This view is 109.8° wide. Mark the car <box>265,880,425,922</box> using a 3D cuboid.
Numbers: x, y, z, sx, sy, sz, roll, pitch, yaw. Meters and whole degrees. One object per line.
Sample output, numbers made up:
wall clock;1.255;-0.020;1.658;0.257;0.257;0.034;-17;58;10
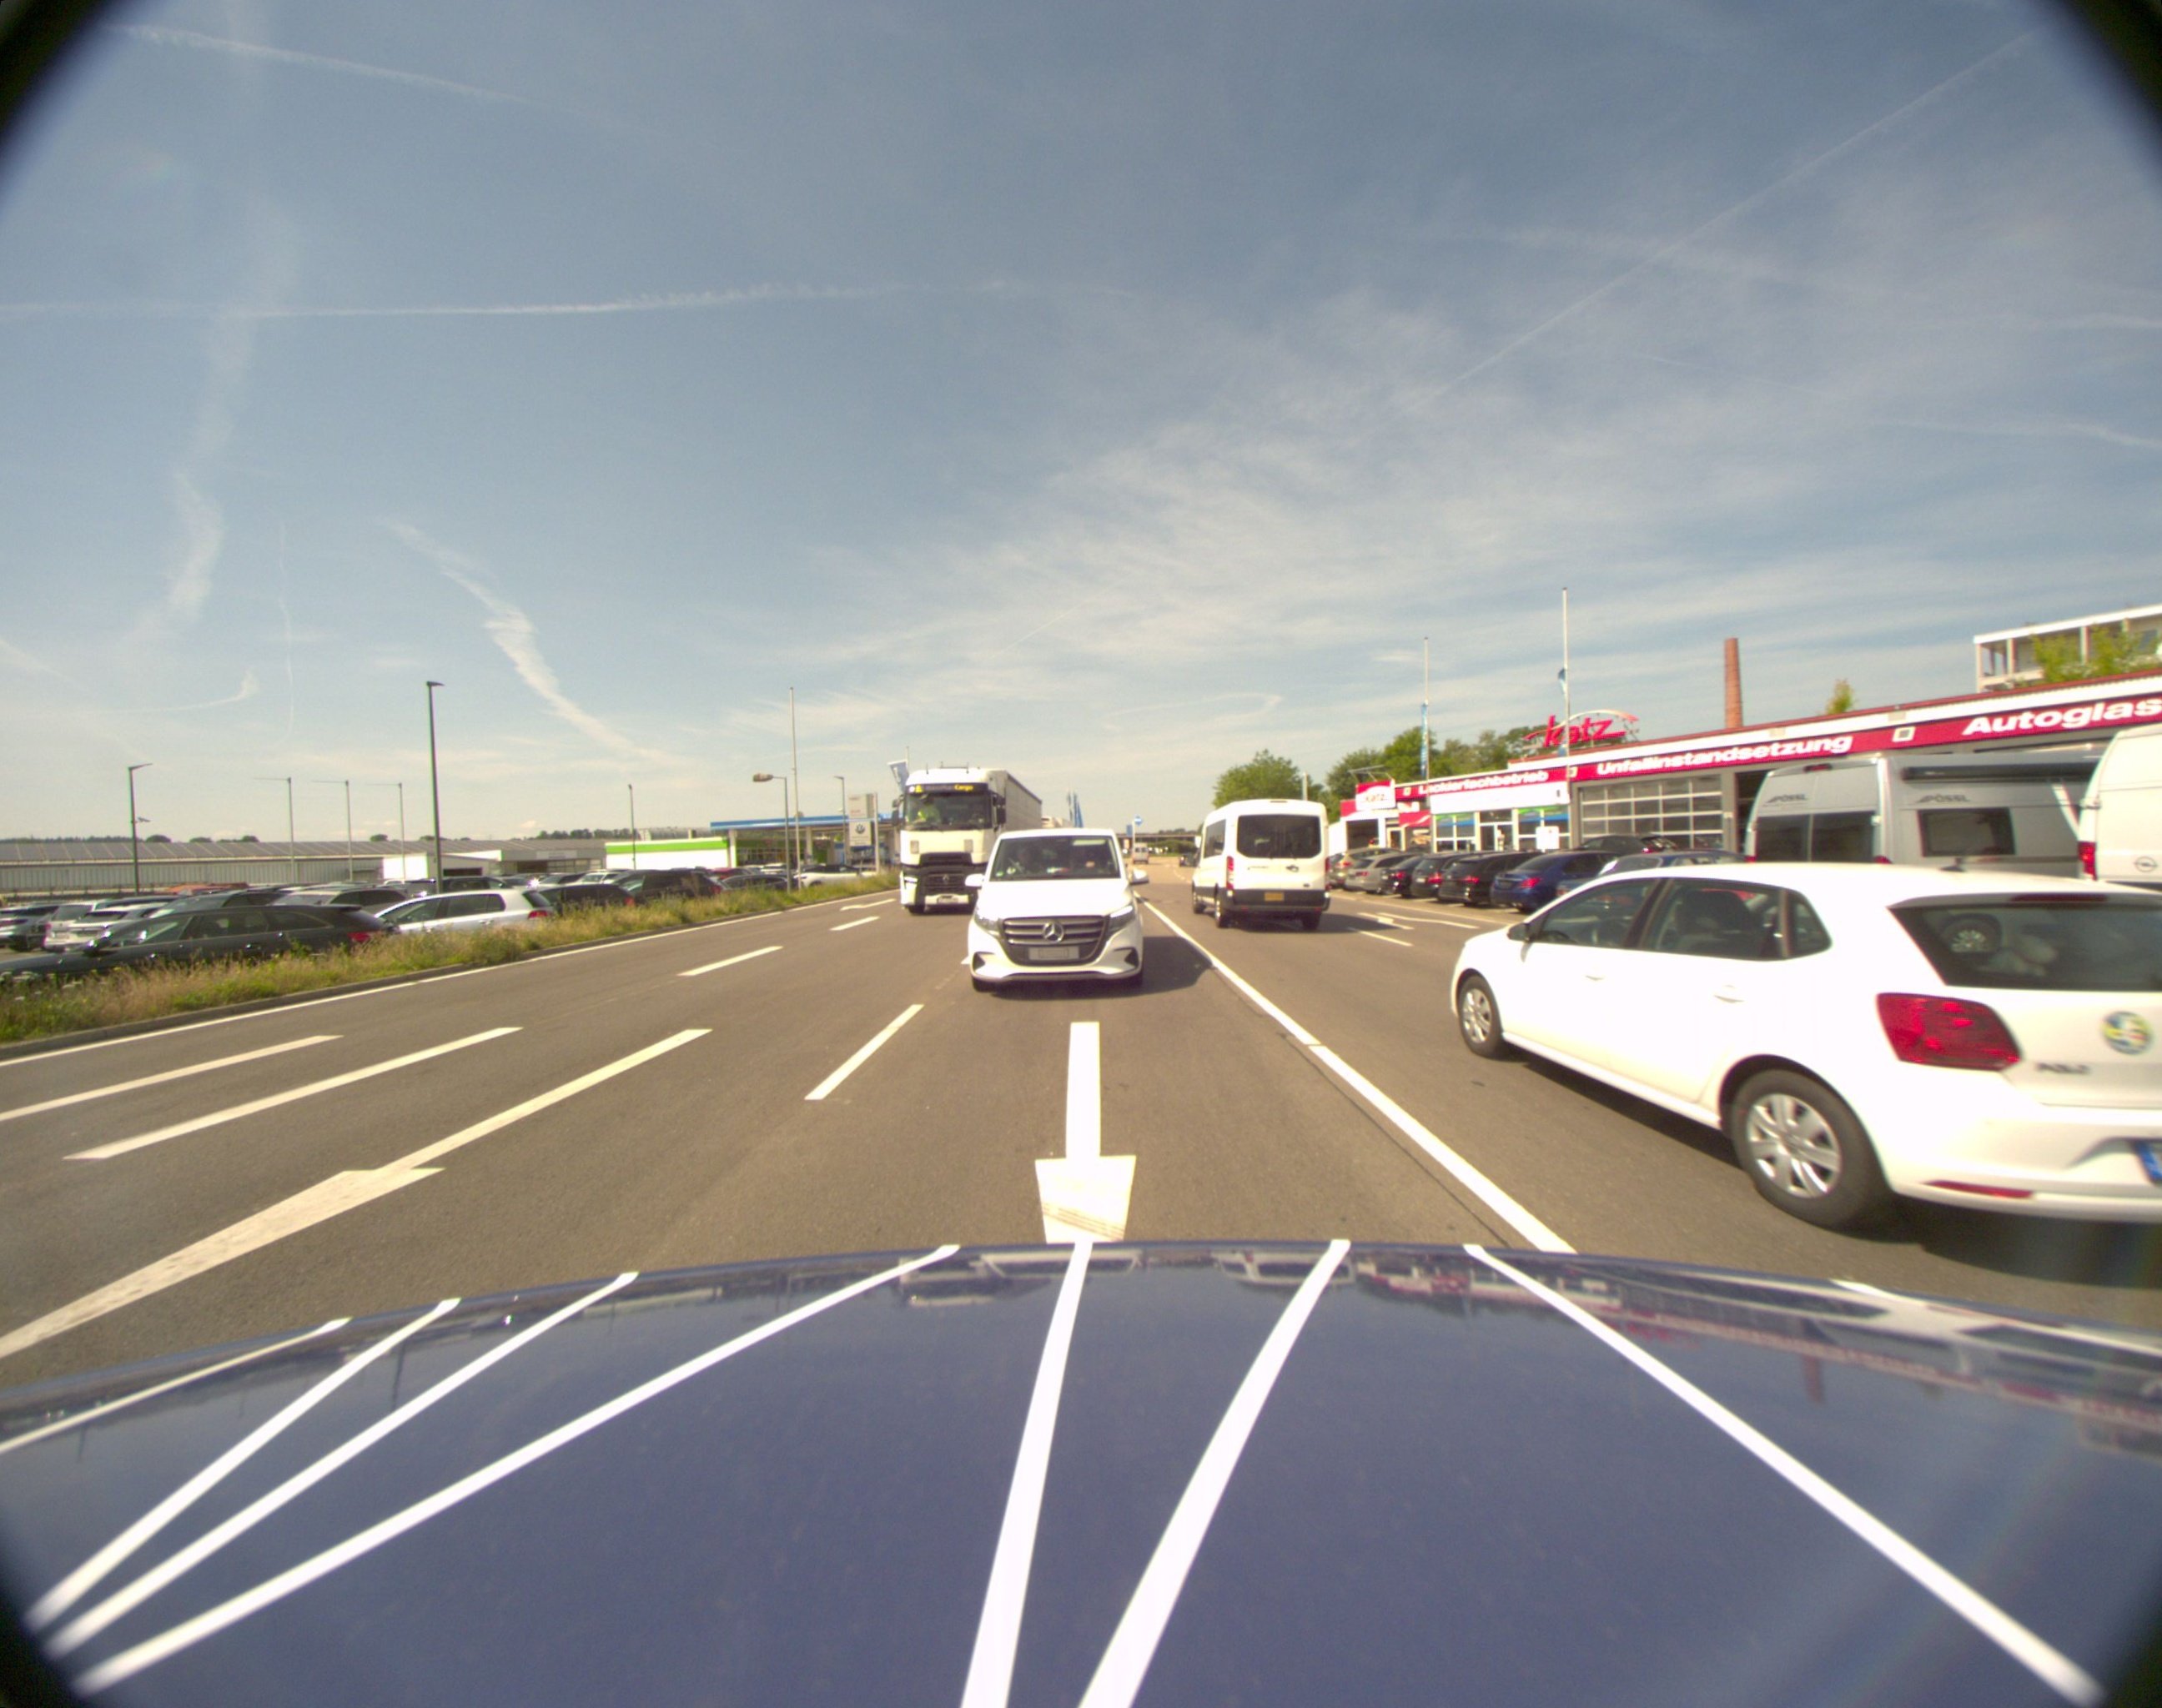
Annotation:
car;-31.145;1.941;32.350;1.819;1.423;4.491;-1;0;23

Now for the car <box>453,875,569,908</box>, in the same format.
car;-27.513;1.813;36.718;4.530;1.450;1.951;-1;0;12

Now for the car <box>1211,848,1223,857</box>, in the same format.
car;26.370;-0.309;147.241;2.052;1.812;4.512;0;0;12

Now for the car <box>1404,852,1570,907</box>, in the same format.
car;11.931;0.725;22.543;3.877;1.490;1.949;-1;0;3

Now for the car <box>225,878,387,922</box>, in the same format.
car;-33.565;1.950;33.095;1.819;1.574;4.545;-1;0;23

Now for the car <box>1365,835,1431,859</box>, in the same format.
car;24.435;-0.537;58.652;4.539;1.644;1.873;-2;0;-17

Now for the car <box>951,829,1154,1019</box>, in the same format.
car;-0.250;0.692;10.491;1.993;1.858;5.803;-1;0;1

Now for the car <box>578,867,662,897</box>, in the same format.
car;-27.960;1.667;46.277;1.773;1.645;4.541;-1;0;10

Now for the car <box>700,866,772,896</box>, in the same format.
car;-20.395;1.536;45.173;1.774;1.571;4.540;-1;0;6

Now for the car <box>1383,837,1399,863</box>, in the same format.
car;22.211;-0.286;54.470;0.881;1.825;0.846;-2;1;14

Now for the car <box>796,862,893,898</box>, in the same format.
car;-12.119;1.278;38.972;4.544;1.645;1.772;-1;1;-26

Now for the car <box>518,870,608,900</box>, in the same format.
car;-32.569;1.939;47.946;1.772;1.645;4.543;-1;0;17

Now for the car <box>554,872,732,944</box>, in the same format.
car;-11.842;1.389;20.705;4.006;1.645;1.772;-1;1;-32

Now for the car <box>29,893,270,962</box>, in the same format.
car;-29.327;2.235;24.204;1.821;1.719;4.540;-1;0;6

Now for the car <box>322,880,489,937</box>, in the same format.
car;-23.987;1.874;27.240;1.774;1.645;4.434;-1;0;4

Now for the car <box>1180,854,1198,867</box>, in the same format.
car;11.976;0.703;84.660;1.858;1.452;4.002;-1;0;6

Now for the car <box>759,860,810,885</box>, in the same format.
car;-22.051;1.353;56.698;1.712;1.702;4.261;-1;0;6

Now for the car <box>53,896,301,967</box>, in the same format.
car;-26.826;2.222;22.846;1.774;1.645;4.540;-1;0;6

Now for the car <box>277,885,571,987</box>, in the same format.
car;-12.488;1.493;14.815;4.005;1.549;1.709;-1;1;-27

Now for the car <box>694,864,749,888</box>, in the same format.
car;-27.094;1.625;57.411;1.720;1.571;4.325;-1;0;6

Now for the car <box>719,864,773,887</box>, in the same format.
car;-24.827;1.582;56.449;1.774;1.571;4.240;-1;0;6

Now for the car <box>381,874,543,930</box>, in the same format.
car;-21.717;1.617;26.936;1.774;1.645;4.539;-1;0;4

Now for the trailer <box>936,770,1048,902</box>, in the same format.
trailer;-3.106;-0.605;30.073;2.613;4.203;11.293;-1;0;2

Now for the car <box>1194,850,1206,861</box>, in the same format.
car;20.428;0.263;130.905;1.975;1.812;4.205;0;0;7

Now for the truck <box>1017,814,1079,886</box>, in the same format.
truck;-1.855;-0.224;46.958;2.646;3.963;9.241;-1;0;4

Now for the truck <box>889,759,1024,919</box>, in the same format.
truck;-3.350;-0.375;22.099;2.647;3.963;6.042;-1;0;2

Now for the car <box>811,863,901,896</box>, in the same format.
car;-12.364;1.356;41.787;4.543;1.645;1.772;-1;1;-24

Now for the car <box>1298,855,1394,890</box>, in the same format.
car;12.370;0.842;35.670;3.798;1.542;1.941;-1;0;-1

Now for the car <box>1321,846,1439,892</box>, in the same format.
car;11.922;0.590;30.461;3.996;1.717;1.871;-1;1;2

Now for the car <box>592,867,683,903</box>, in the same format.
car;-23.297;1.594;40.121;1.774;1.645;4.540;-1;0;6

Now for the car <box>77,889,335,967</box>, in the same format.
car;-23.885;1.943;21.077;1.969;1.645;4.536;-1;0;-3

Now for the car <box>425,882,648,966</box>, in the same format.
car;-12.516;1.532;17.723;4.007;1.543;1.771;-1;1;-35

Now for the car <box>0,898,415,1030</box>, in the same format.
car;-13.053;1.519;11.373;4.350;1.443;1.772;-1;1;-32

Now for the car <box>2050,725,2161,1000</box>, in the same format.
car;13.928;0.030;7.523;5.722;2.821;2.117;-1;0;2

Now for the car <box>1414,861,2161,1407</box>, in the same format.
car;3.592;0.848;4.233;1.657;1.546;3.999;0;0;-1

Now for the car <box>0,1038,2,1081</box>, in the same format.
car;-12.472;1.241;5.880;4.355;2.200;1.759;-1;1;-29

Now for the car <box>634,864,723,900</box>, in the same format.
car;-20.791;1.417;39.465;1.774;1.645;4.540;-1;0;6

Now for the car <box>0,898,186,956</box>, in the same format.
car;-36.640;2.606;27.979;1.774;1.645;4.539;-1;0;5

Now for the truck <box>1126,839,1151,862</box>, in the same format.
truck;7.328;-0.417;96.836;2.442;2.820;6.040;-1;0;-2

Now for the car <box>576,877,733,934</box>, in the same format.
car;-12.812;1.497;23.130;4.005;1.450;1.772;-1;1;-25

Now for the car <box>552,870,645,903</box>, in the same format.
car;-25.728;1.707;40.702;1.689;1.517;4.540;-1;0;6

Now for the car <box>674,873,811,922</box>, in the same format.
car;-12.817;1.582;28.814;4.545;1.571;1.772;-1;1;-30

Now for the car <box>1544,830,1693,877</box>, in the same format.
car;20.700;-0.006;29.527;1.877;1.644;4.529;-2;0;-16

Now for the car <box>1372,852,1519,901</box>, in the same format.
car;11.954;0.718;25.118;3.996;1.474;1.756;-1;0;3

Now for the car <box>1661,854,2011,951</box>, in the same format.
car;12.393;0.762;12.700;3.948;1.423;1.828;-1;0;2

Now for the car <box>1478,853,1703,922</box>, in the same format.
car;11.814;0.734;17.833;3.997;1.445;1.906;-1;0;1

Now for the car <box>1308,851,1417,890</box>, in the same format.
car;12.136;0.690;32.933;3.997;1.516;2.000;-1;0;-1

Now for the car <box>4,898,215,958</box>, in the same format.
car;-34.285;2.553;27.063;1.775;1.645;4.536;-1;0;-3

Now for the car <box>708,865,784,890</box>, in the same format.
car;-23.095;1.587;52.465;4.532;1.571;1.777;-1;1;8

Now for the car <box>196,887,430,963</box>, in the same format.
car;-21.202;1.866;21.347;1.908;1.645;4.708;-1;0;-3

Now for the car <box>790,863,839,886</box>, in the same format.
car;-19.693;1.473;56.372;1.774;1.571;4.149;-1;0;6

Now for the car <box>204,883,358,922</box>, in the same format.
car;-36.919;2.175;35.226;1.819;1.466;4.545;-1;0;23

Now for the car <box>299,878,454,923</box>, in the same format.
car;-28.564;1.838;30.995;1.819;1.532;4.214;-1;0;23

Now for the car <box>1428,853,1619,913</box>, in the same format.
car;11.809;0.749;20.498;3.997;1.443;1.946;-1;0;1

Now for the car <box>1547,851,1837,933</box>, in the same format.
car;12.088;0.723;15.265;4.258;1.459;1.874;-1;0;2

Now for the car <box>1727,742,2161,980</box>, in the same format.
car;12.287;0.065;10.026;5.579;2.756;2.177;-1;1;2

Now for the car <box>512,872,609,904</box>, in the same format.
car;-28.031;1.796;41.135;1.774;1.433;4.540;-1;0;6

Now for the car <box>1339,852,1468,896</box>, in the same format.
car;11.794;0.719;27.919;3.974;1.484;1.739;-1;1;-2

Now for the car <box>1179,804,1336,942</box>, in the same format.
car;3.707;0.338;17.527;2.064;2.495;7.114;-1;0;1

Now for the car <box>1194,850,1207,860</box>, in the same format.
car;21.007;0.181;133.816;2.053;1.812;4.511;0;0;7
